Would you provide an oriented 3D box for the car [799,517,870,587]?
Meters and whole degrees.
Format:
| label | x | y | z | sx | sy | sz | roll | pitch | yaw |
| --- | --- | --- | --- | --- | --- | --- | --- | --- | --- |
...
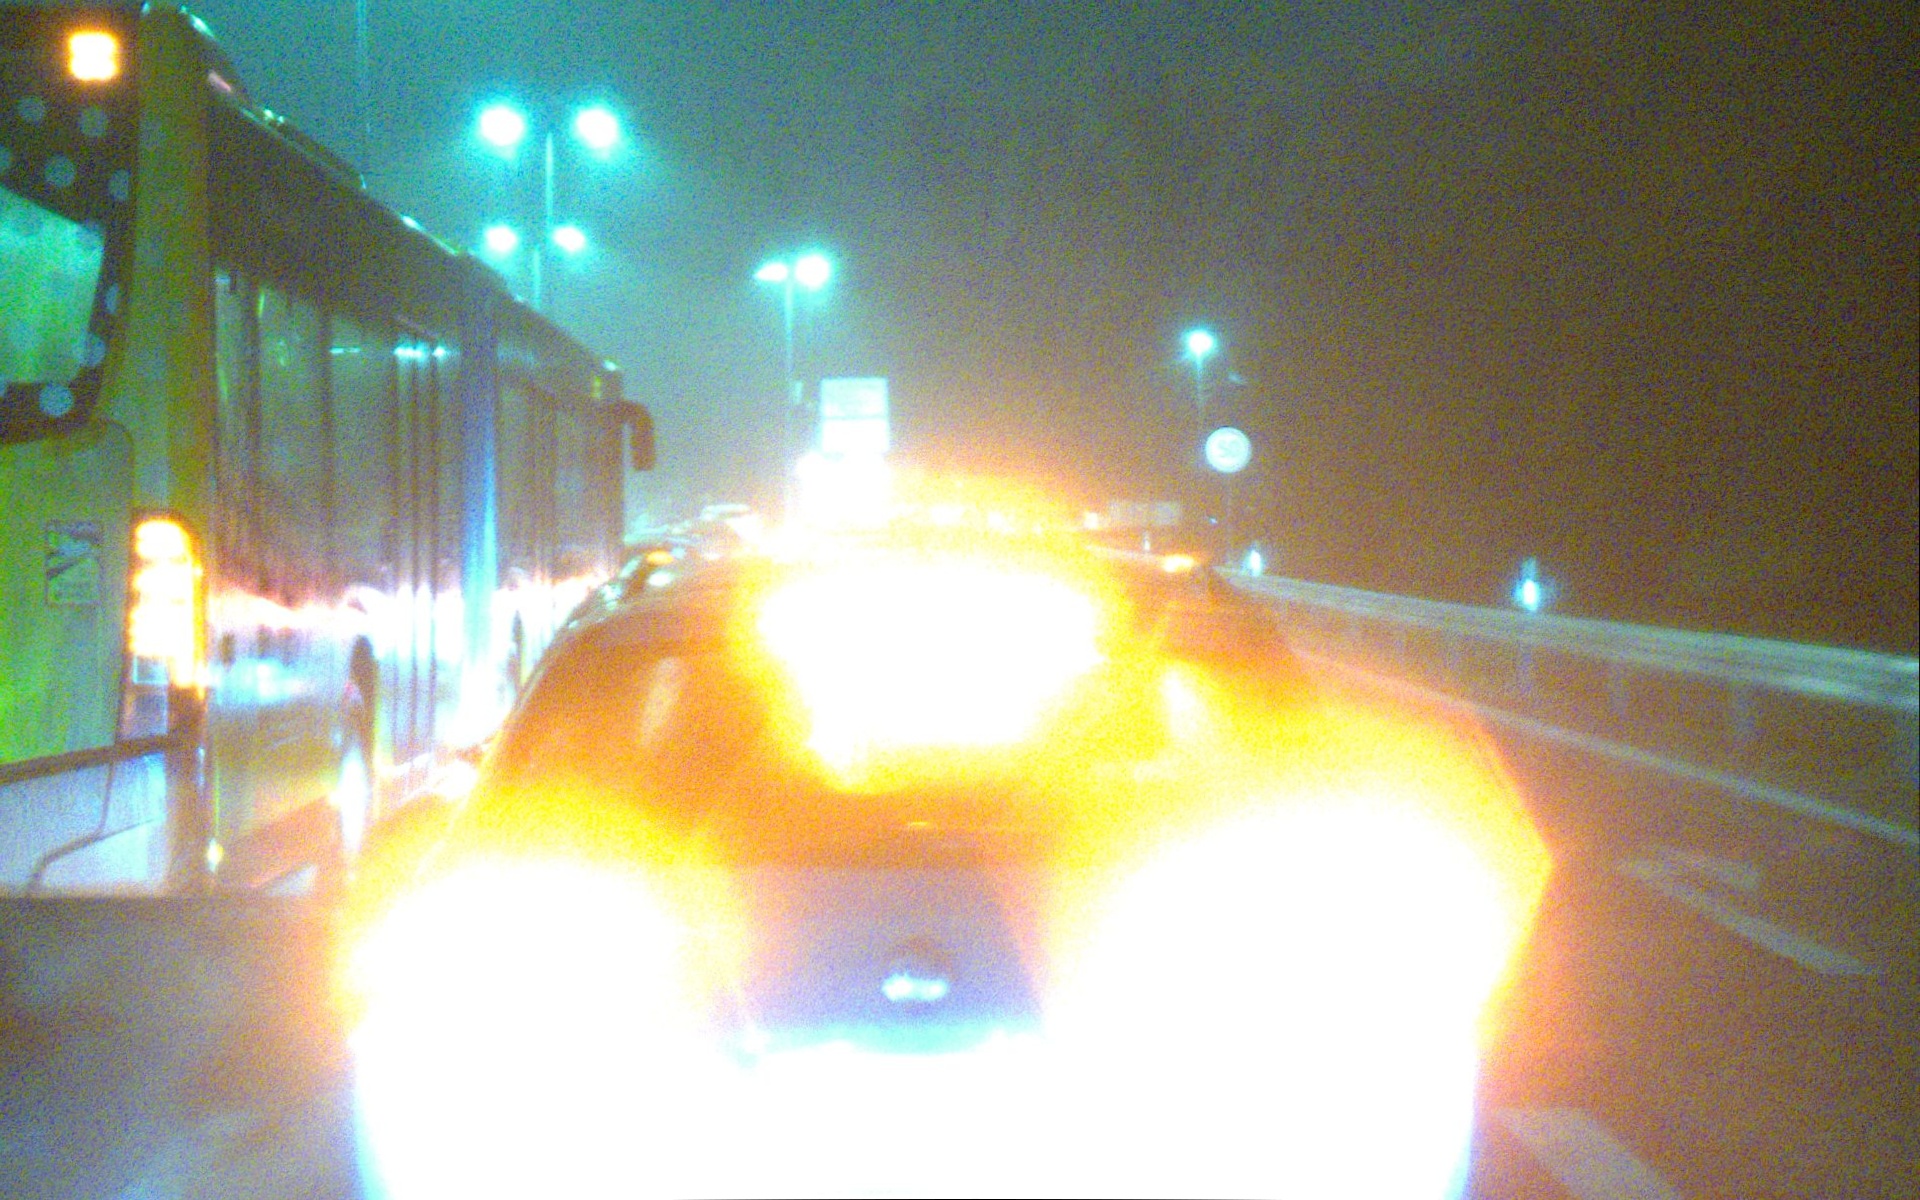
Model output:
| label | x | y | z | sx | sy | sz | roll | pitch | yaw |
| --- | --- | --- | --- | --- | --- | --- | --- | --- | --- |
| car | -3.716 | -1.436 | 102.116 | 1.993 | 2.007 | 4.000 | 1 | 1 | -1 |

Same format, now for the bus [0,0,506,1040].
| label | x | y | z | sx | sy | sz | roll | pitch | yaw |
| --- | --- | --- | --- | --- | --- | --- | --- | --- | --- |
| bus | -3.645 | -0.354 | 14.029 | 2.815 | 3.013 | 8.688 | 0 | 1 | -3 |

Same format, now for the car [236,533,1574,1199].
| label | x | y | z | sx | sy | sz | roll | pitch | yaw |
| --- | --- | --- | --- | --- | --- | --- | --- | --- | --- |
| car | -0.035 | 0.610 | 6.971 | 1.821 | 1.479 | 4.568 | 0 | 1 | 1 |

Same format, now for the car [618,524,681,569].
| label | x | y | z | sx | sy | sz | roll | pitch | yaw |
| --- | --- | --- | --- | --- | --- | --- | --- | --- | --- |
| car | -11.349 | -1.971 | 125.986 | 1.993 | 1.634 | 4.000 | 0 | 1 | -1 |

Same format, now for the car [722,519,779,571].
| label | x | y | z | sx | sy | sz | roll | pitch | yaw |
| --- | --- | --- | --- | --- | --- | --- | --- | --- | --- |
| car | -7.386 | -1.930 | 121.582 | 1.816 | 1.791 | 3.803 | 1 | 1 | -1 |

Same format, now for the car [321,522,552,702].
| label | x | y | z | sx | sy | sz | roll | pitch | yaw |
| --- | --- | --- | --- | --- | --- | --- | --- | --- | --- |
| car | -4.731 | 0.066 | 31.487 | 1.779 | 1.538 | 3.875 | 0 | 1 | -4 |

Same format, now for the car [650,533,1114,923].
| label | x | y | z | sx | sy | sz | roll | pitch | yaw |
| --- | --- | --- | --- | --- | --- | --- | --- | --- | --- |
| car | -0.393 | 0.437 | 15.262 | 1.731 | 1.444 | 4.725 | 0 | 1 | -2 |

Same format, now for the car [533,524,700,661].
| label | x | y | z | sx | sy | sz | roll | pitch | yaw |
| --- | --- | --- | --- | --- | --- | --- | --- | --- | --- |
| car | -4.026 | -0.125 | 40.775 | 1.779 | 1.538 | 3.875 | 0 | 1 | -3 |

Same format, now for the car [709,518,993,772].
| label | x | y | z | sx | sy | sz | roll | pitch | yaw |
| --- | --- | --- | --- | --- | --- | --- | --- | --- | --- |
| car | -0.806 | 0.242 | 23.142 | 1.739 | 1.559 | 3.777 | 0 | 1 | -4 |

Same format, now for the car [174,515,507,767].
| label | x | y | z | sx | sy | sz | roll | pitch | yaw |
| --- | --- | --- | --- | --- | --- | --- | --- | --- | --- |
| car | -4.051 | 0.215 | 23.009 | 1.779 | 1.538 | 3.875 | 0 | 1 | -4 |

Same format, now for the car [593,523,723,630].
| label | x | y | z | sx | sy | sz | roll | pitch | yaw |
| --- | --- | --- | --- | --- | --- | --- | --- | --- | --- |
| car | -4.501 | -0.379 | 51.661 | 1.779 | 1.538 | 3.875 | 0 | 1 | -3 |

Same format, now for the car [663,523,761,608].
| label | x | y | z | sx | sy | sz | roll | pitch | yaw |
| --- | --- | --- | --- | --- | --- | --- | --- | --- | --- |
| car | -4.669 | -0.666 | 64.689 | 1.779 | 1.538 | 3.875 | 0 | 1 | -4 |
